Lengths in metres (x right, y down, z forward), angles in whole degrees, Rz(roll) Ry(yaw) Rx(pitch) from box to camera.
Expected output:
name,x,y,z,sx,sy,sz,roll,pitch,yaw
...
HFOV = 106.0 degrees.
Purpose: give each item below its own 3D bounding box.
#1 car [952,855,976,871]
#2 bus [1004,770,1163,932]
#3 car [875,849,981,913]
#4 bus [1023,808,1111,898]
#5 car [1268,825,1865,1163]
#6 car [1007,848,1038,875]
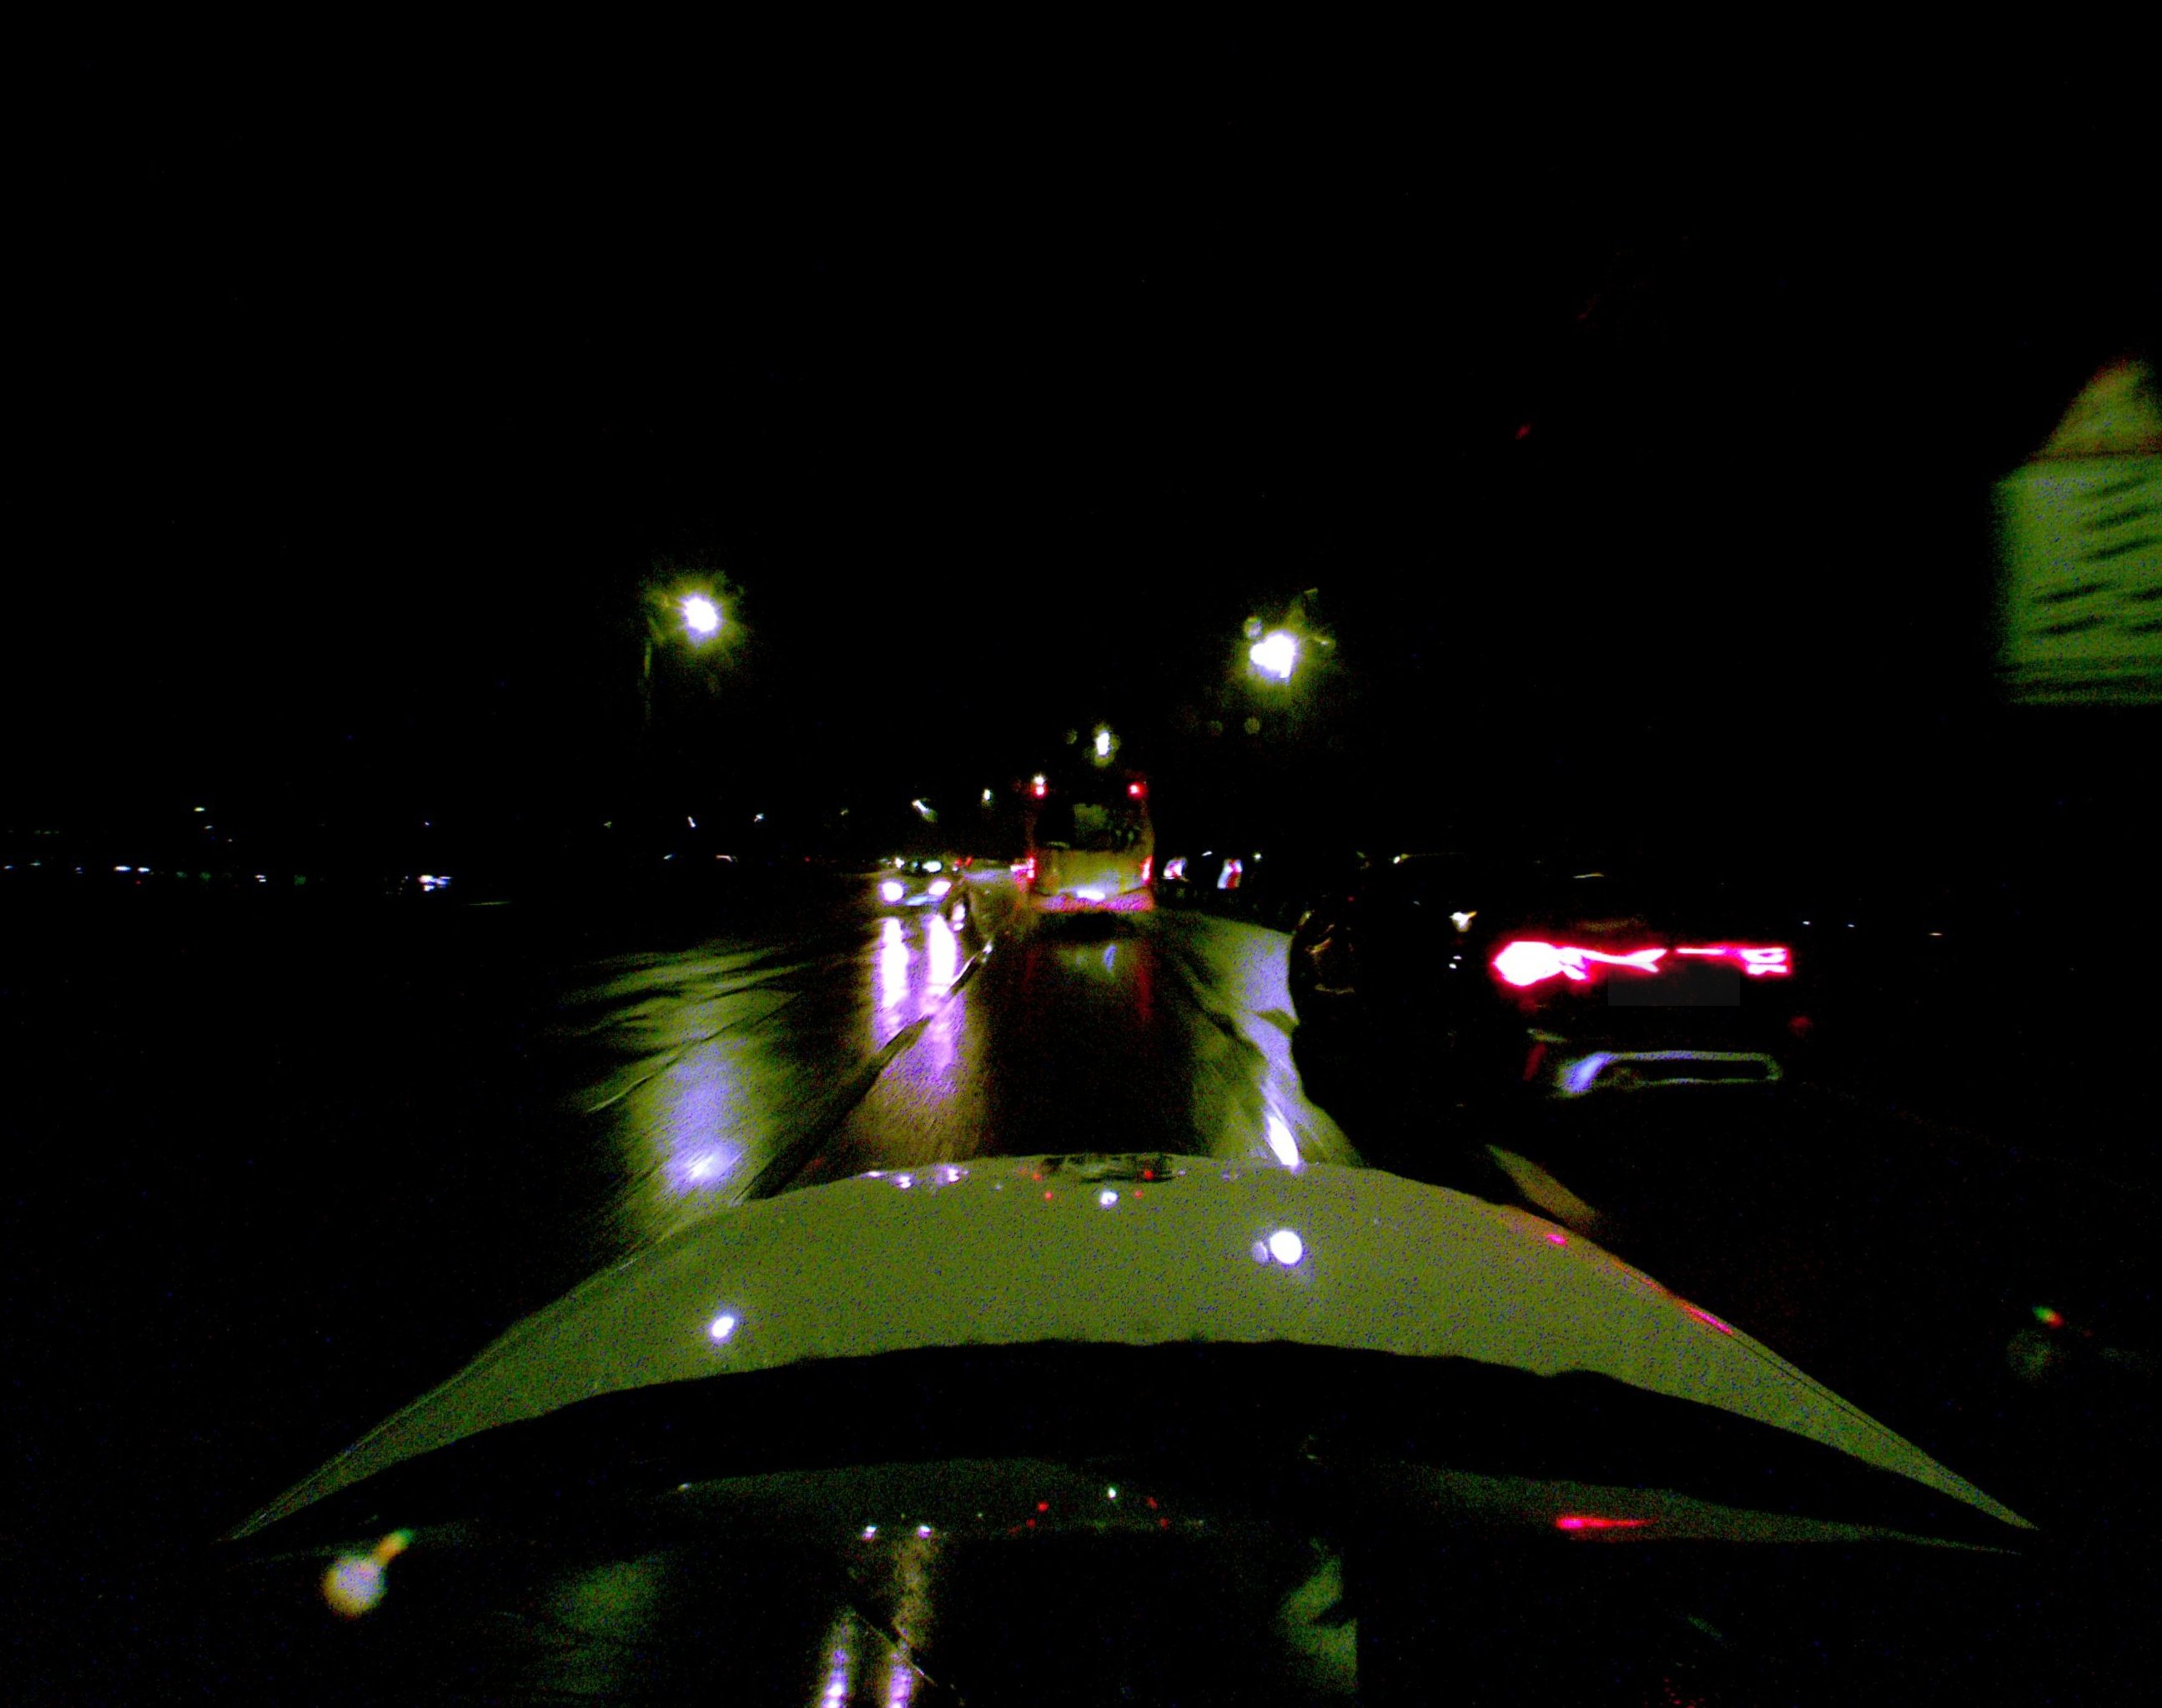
name,x,y,z,sx,sy,sz,roll,pitch,yaw
car,-13.159,0.985,91.542,1.999,1.739,3.976,0,0,-18
bus,-0.170,-0.104,22.183,3.075,3.132,12.686,0,0,-2
car,-4.348,0.719,23.951,1.990,1.675,4.621,0,0,3
bus,-0.679,-0.027,32.389,3.042,3.132,8.069,0,0,-3
car,2.852,0.691,5.981,1.851,1.586,3.996,-1,-1,-3
car,-4.618,0.555,63.935,1.994,2.013,3.986,0,0,-10
